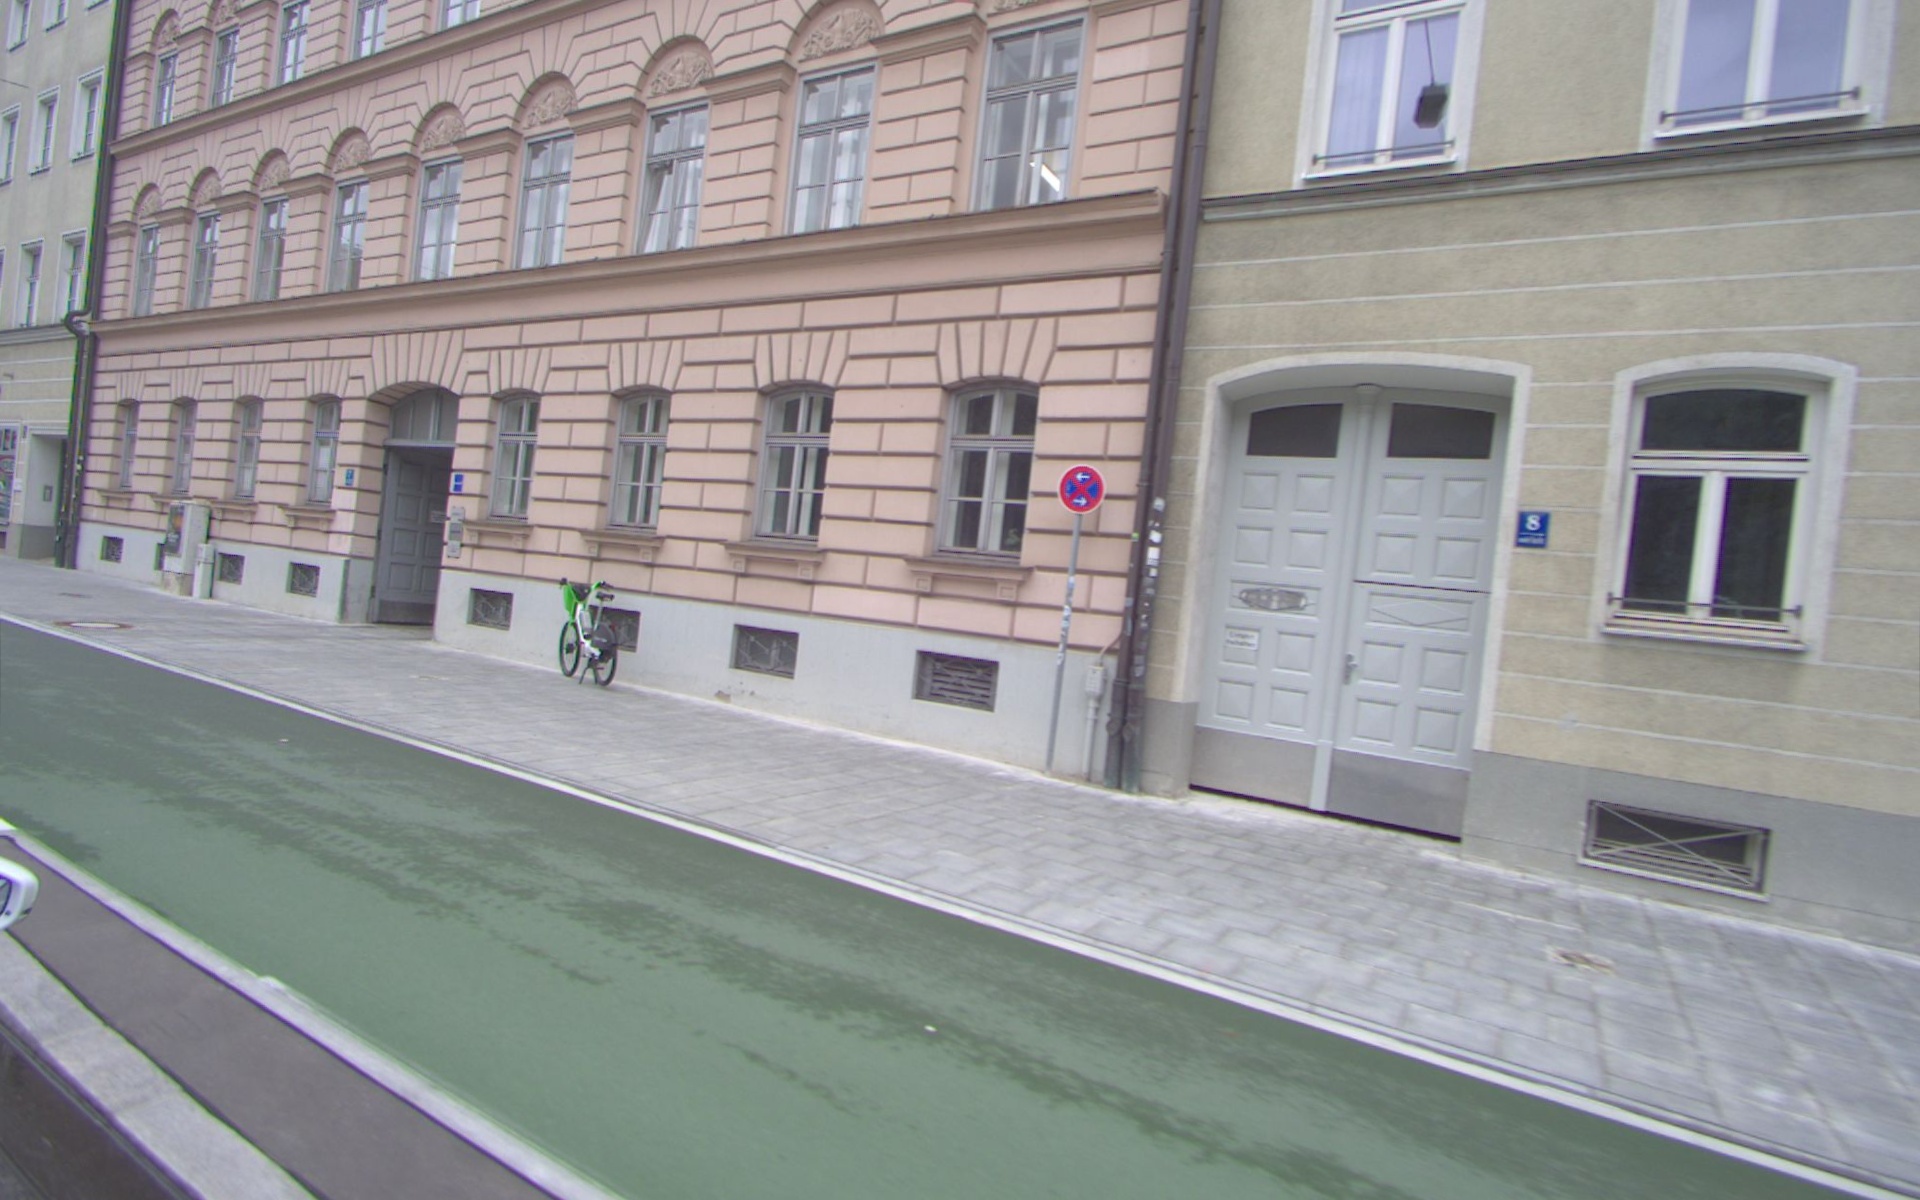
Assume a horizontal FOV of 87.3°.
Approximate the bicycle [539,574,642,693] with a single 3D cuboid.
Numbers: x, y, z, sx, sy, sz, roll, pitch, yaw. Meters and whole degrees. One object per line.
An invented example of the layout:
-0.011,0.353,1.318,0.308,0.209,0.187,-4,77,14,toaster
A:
-4.273,0.357,11.570,0.424,1.189,1.711,5,1,-41,bicycle
